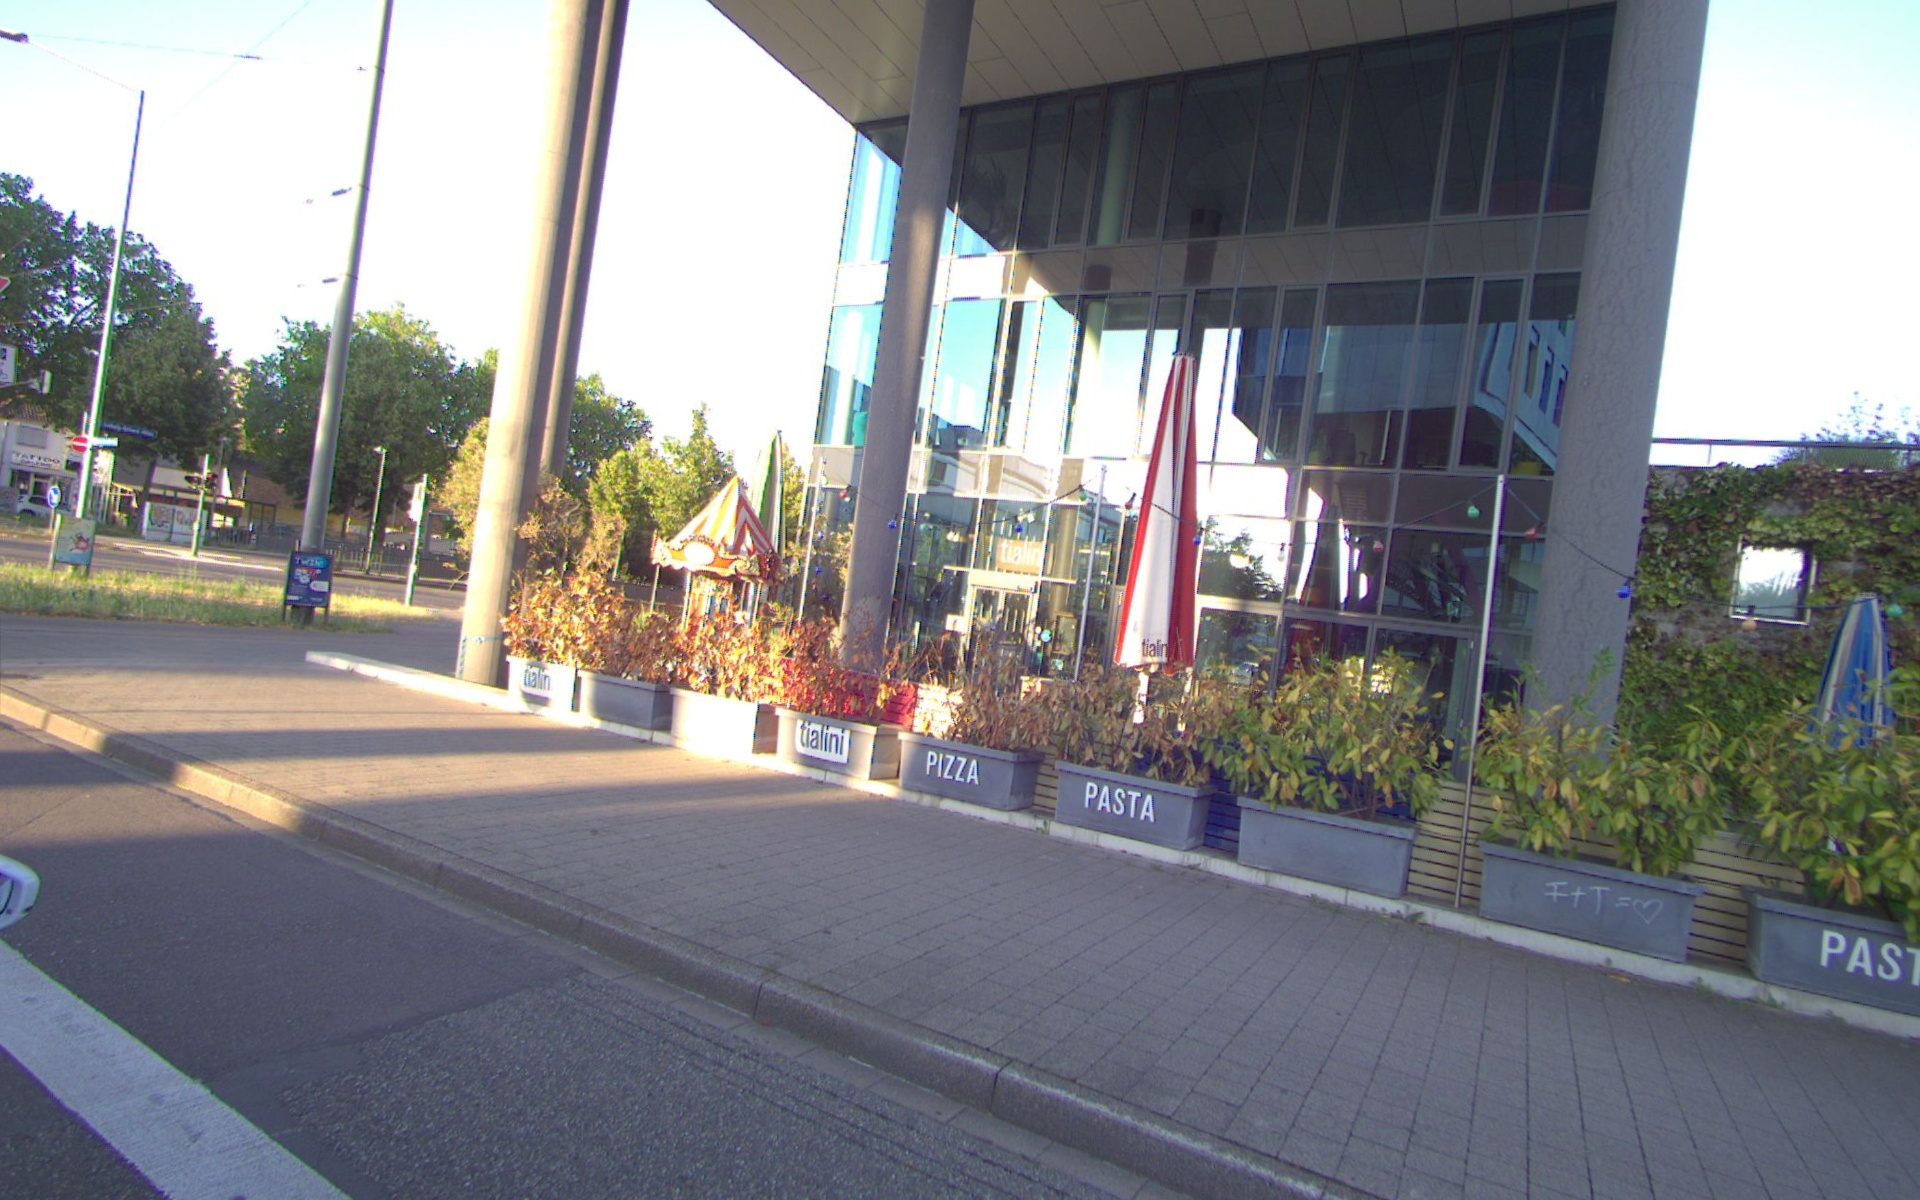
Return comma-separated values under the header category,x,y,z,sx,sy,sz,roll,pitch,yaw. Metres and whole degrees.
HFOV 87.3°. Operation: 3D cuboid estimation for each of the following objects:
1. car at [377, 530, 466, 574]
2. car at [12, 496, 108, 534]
category,x,y,z,sx,sy,sz,roll,pitch,yaw
car,-42.554,-3.769,79.571,2.197,2.581,5.594,7,-2,39
car,-50.251,-4.724,56.204,1.641,1.456,3.736,6,-2,41
